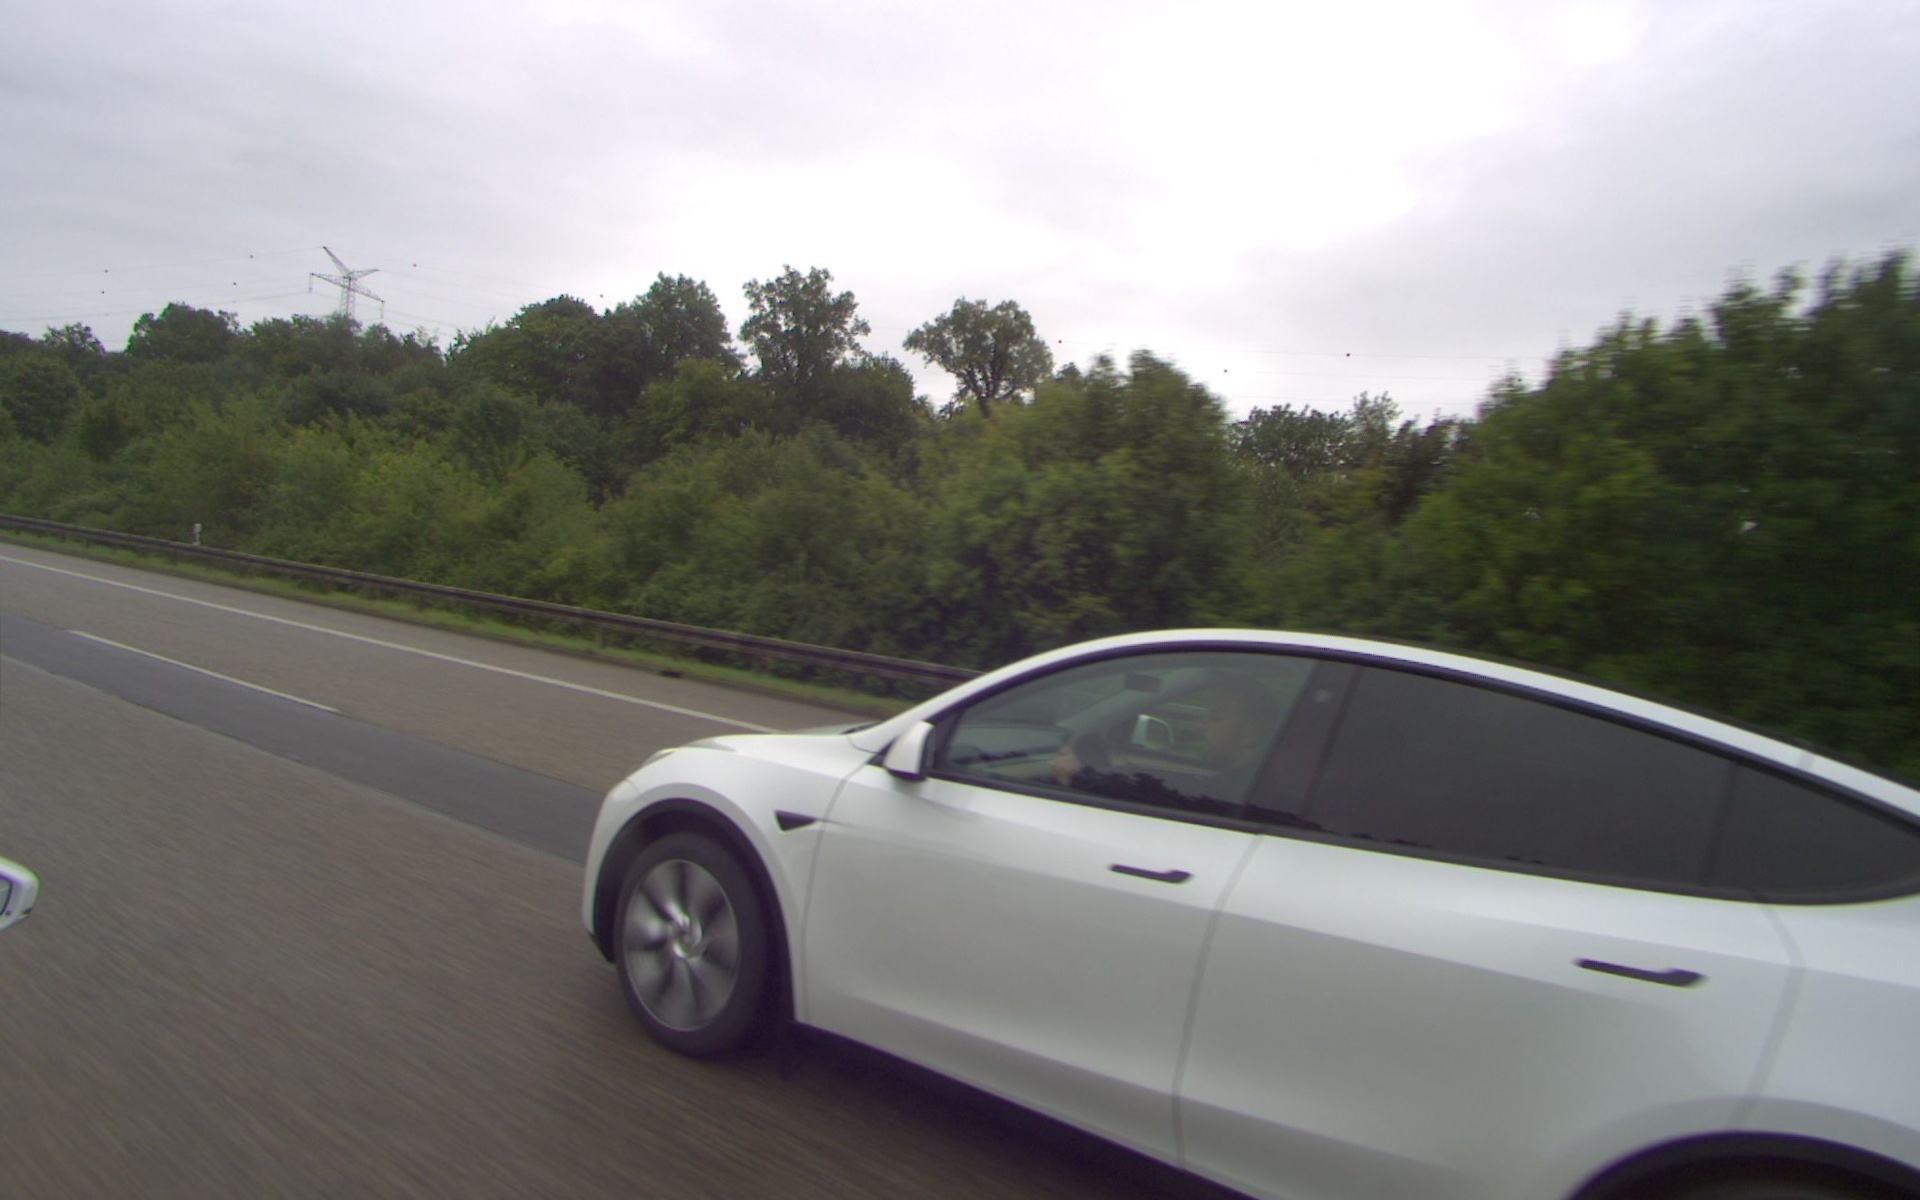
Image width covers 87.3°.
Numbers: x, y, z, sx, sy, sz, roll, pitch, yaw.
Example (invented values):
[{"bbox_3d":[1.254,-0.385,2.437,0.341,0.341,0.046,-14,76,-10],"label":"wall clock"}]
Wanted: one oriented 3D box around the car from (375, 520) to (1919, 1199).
[{"bbox_3d":[0.347,0.795,3.516,4.880,1.586,1.864,7,-1,30],"label":"car"}]
